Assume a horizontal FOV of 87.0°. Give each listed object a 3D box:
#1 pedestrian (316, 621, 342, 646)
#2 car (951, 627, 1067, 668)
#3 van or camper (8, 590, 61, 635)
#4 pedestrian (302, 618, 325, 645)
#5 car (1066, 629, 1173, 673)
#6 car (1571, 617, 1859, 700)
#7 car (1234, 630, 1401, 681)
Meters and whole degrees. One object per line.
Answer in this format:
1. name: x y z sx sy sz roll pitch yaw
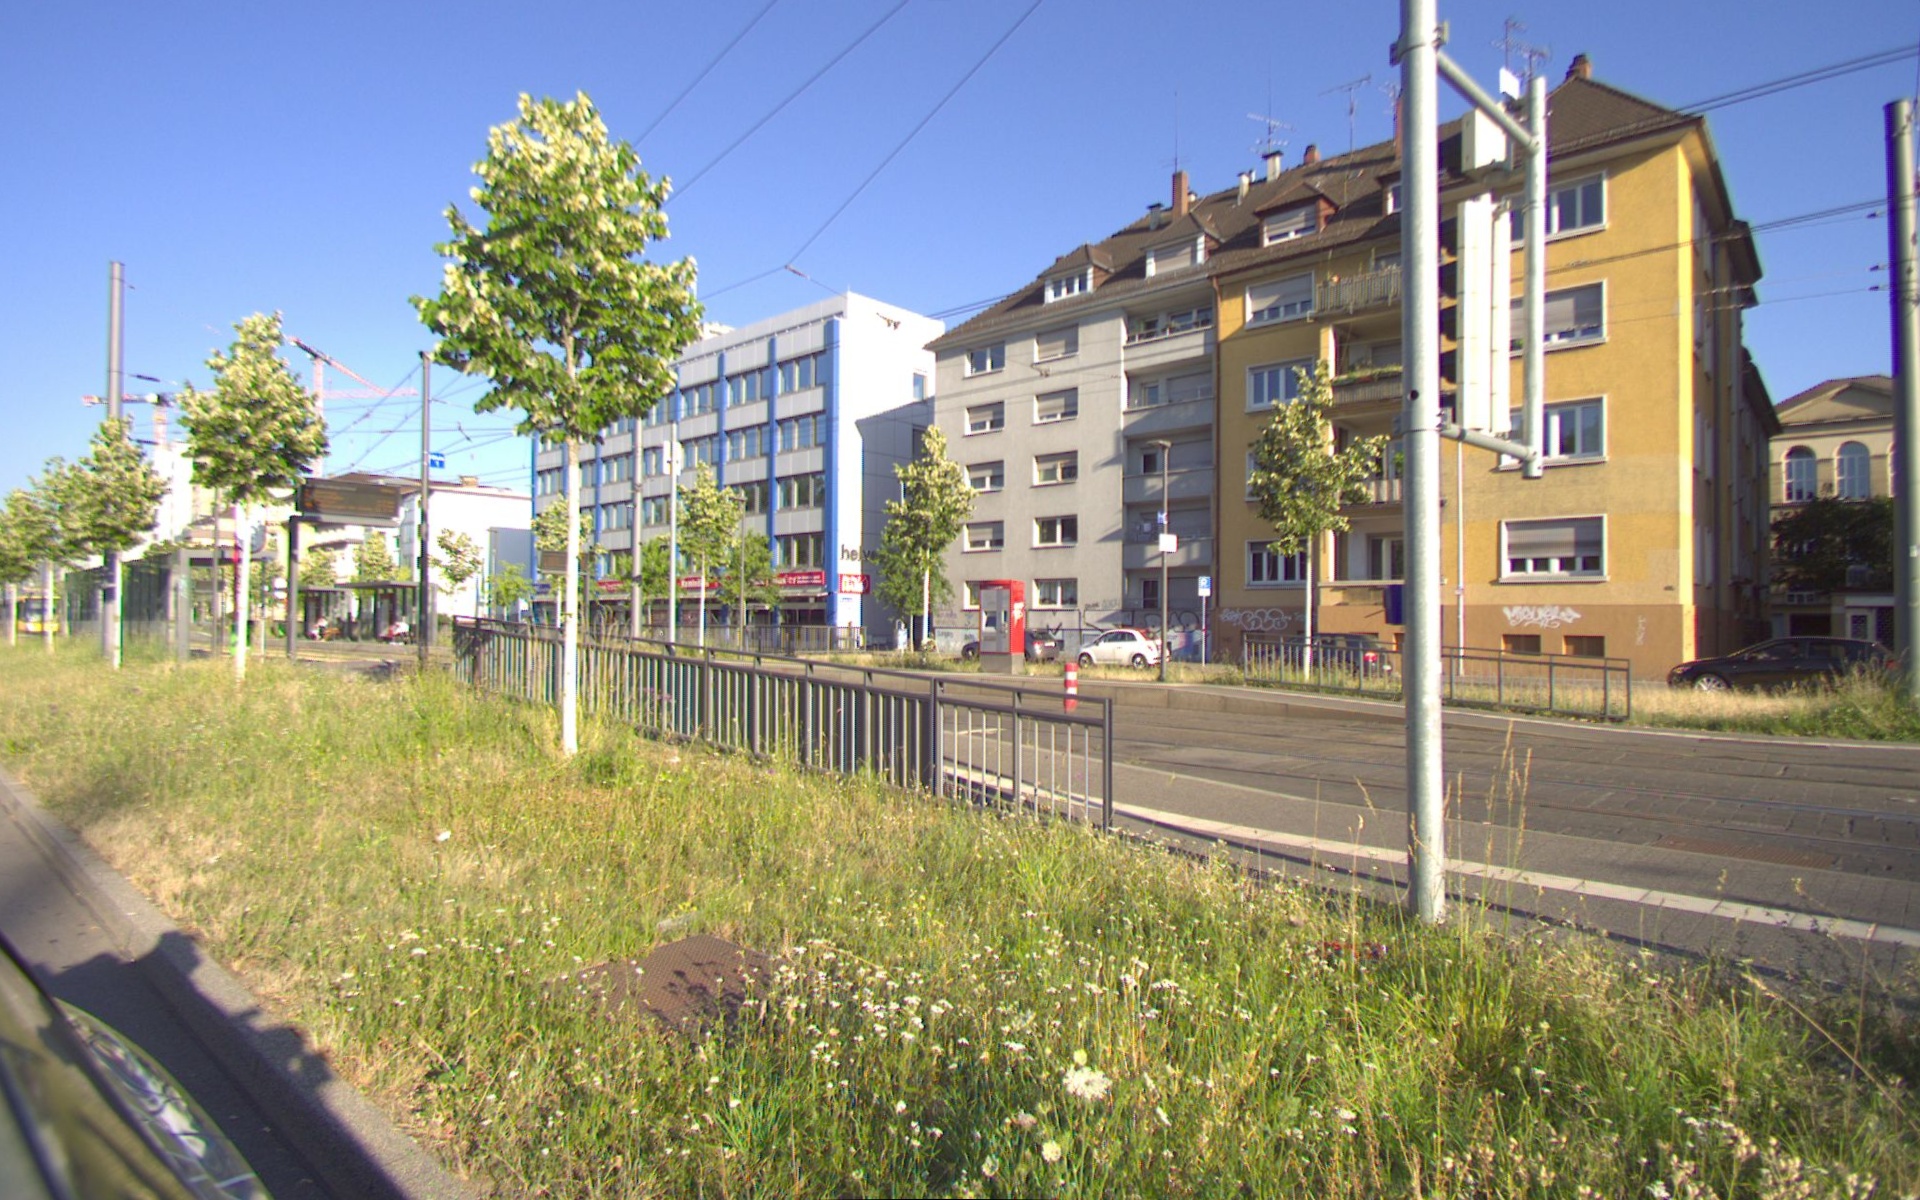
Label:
1. pedestrian: -31.766 1.678 50.943 0.764 1.206 0.924 -1 -2 41
2. car: 1.937 1.876 40.914 4.429 1.519 1.973 -1 -2 41
3. van or camper: -68.193 0.937 74.507 7.479 3.192 2.476 -1 -2 45
4. pedestrian: -33.657 1.640 52.689 0.803 1.421 0.829 -1 -2 41
5. car: 5.861 1.843 37.329 3.551 1.497 1.729 -1 -2 41
6. car: 16.070 1.182 21.774 4.775 1.608 1.974 -1 -2 40
7. car: 9.823 1.489 27.906 3.992 1.298 1.824 -1 -2 36
